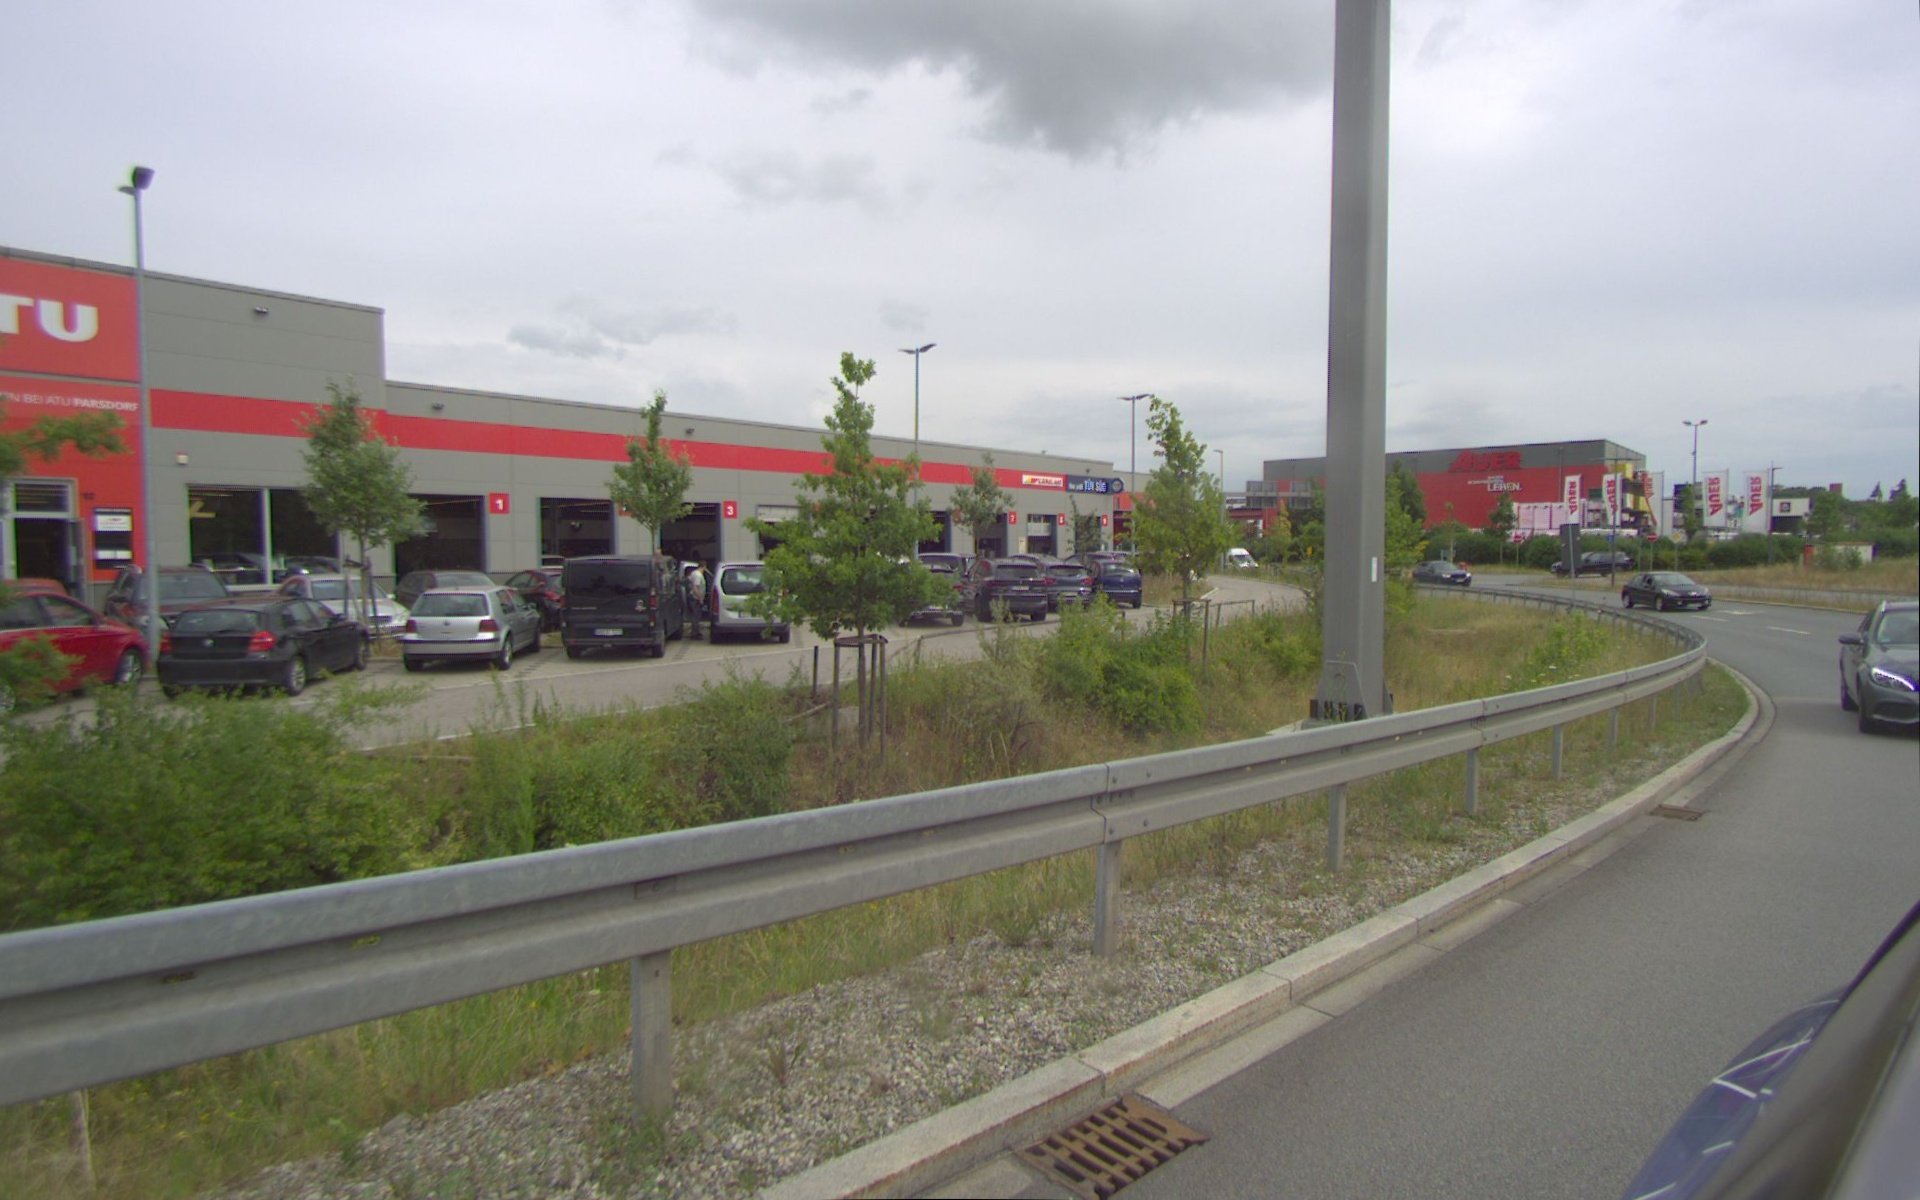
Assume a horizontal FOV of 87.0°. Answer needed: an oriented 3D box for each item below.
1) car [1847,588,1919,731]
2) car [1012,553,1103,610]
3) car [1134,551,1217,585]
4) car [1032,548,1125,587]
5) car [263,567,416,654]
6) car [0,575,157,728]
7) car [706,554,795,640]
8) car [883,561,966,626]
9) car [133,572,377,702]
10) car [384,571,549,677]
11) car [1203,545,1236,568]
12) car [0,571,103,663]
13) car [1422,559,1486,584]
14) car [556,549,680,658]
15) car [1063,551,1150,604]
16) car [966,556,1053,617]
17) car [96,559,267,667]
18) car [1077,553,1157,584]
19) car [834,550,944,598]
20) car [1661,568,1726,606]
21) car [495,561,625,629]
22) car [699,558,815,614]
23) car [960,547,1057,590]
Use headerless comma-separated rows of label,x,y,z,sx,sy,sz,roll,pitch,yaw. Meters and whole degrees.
car,11.681,0.598,11.830,1.756,1.438,4.034,-1,0,39
car,3.130,-0.651,33.258,1.791,1.641,4.088,1,4,-12
car,10.574,-1.568,49.857,3.679,1.564,1.569,0,2,38
car,5.088,-1.386,43.644,3.679,1.564,1.569,0,2,38
car,-13.178,0.194,21.430,3.679,1.658,1.569,-1,2,38
car,-12.991,0.650,13.619,1.734,1.597,4.090,-2,6,-12
car,-4.874,-0.159,23.689,1.866,1.732,4.088,0,4,-11
car,-1.061,-0.202,28.006,1.616,1.642,4.085,1,1,-12
car,-10.836,0.454,15.945,1.734,1.598,4.088,0,4,-13
car,-9.083,0.349,19.003,1.734,1.598,4.087,0,4,-10
car,18.553,-3.119,72.525,1.562,1.564,3.697,-1,1,4
car,-17.388,0.291,18.674,4.179,1.518,1.569,0,2,38
car,30.380,-1.789,62.435,1.826,1.429,4.557,-1,2,2
car,-6.883,-0.029,20.749,1.866,1.930,4.088,0,4,-11
car,5.066,-0.829,35.572,1.700,1.641,4.088,1,4,-12
car,1.367,-0.395,29.577,1.701,1.642,4.084,1,1,-9
car,-14.923,0.214,19.329,4.179,1.859,1.569,0,2,38
car,7.099,-1.413,45.795,3.305,1.340,1.461,0,2,38
car,-2.479,-0.882,34.943,3.679,1.564,1.569,0,2,38
car,28.684,-0.550,39.686,1.752,1.334,3.916,-1,2,32
car,-10.663,-0.189,26.913,3.680,1.658,1.569,2,3,38
car,-6.413,-0.487,31.799,3.680,1.658,1.569,1,3,38
car,1.940,-1.257,40.906,3.679,1.564,1.569,-1,1,38
